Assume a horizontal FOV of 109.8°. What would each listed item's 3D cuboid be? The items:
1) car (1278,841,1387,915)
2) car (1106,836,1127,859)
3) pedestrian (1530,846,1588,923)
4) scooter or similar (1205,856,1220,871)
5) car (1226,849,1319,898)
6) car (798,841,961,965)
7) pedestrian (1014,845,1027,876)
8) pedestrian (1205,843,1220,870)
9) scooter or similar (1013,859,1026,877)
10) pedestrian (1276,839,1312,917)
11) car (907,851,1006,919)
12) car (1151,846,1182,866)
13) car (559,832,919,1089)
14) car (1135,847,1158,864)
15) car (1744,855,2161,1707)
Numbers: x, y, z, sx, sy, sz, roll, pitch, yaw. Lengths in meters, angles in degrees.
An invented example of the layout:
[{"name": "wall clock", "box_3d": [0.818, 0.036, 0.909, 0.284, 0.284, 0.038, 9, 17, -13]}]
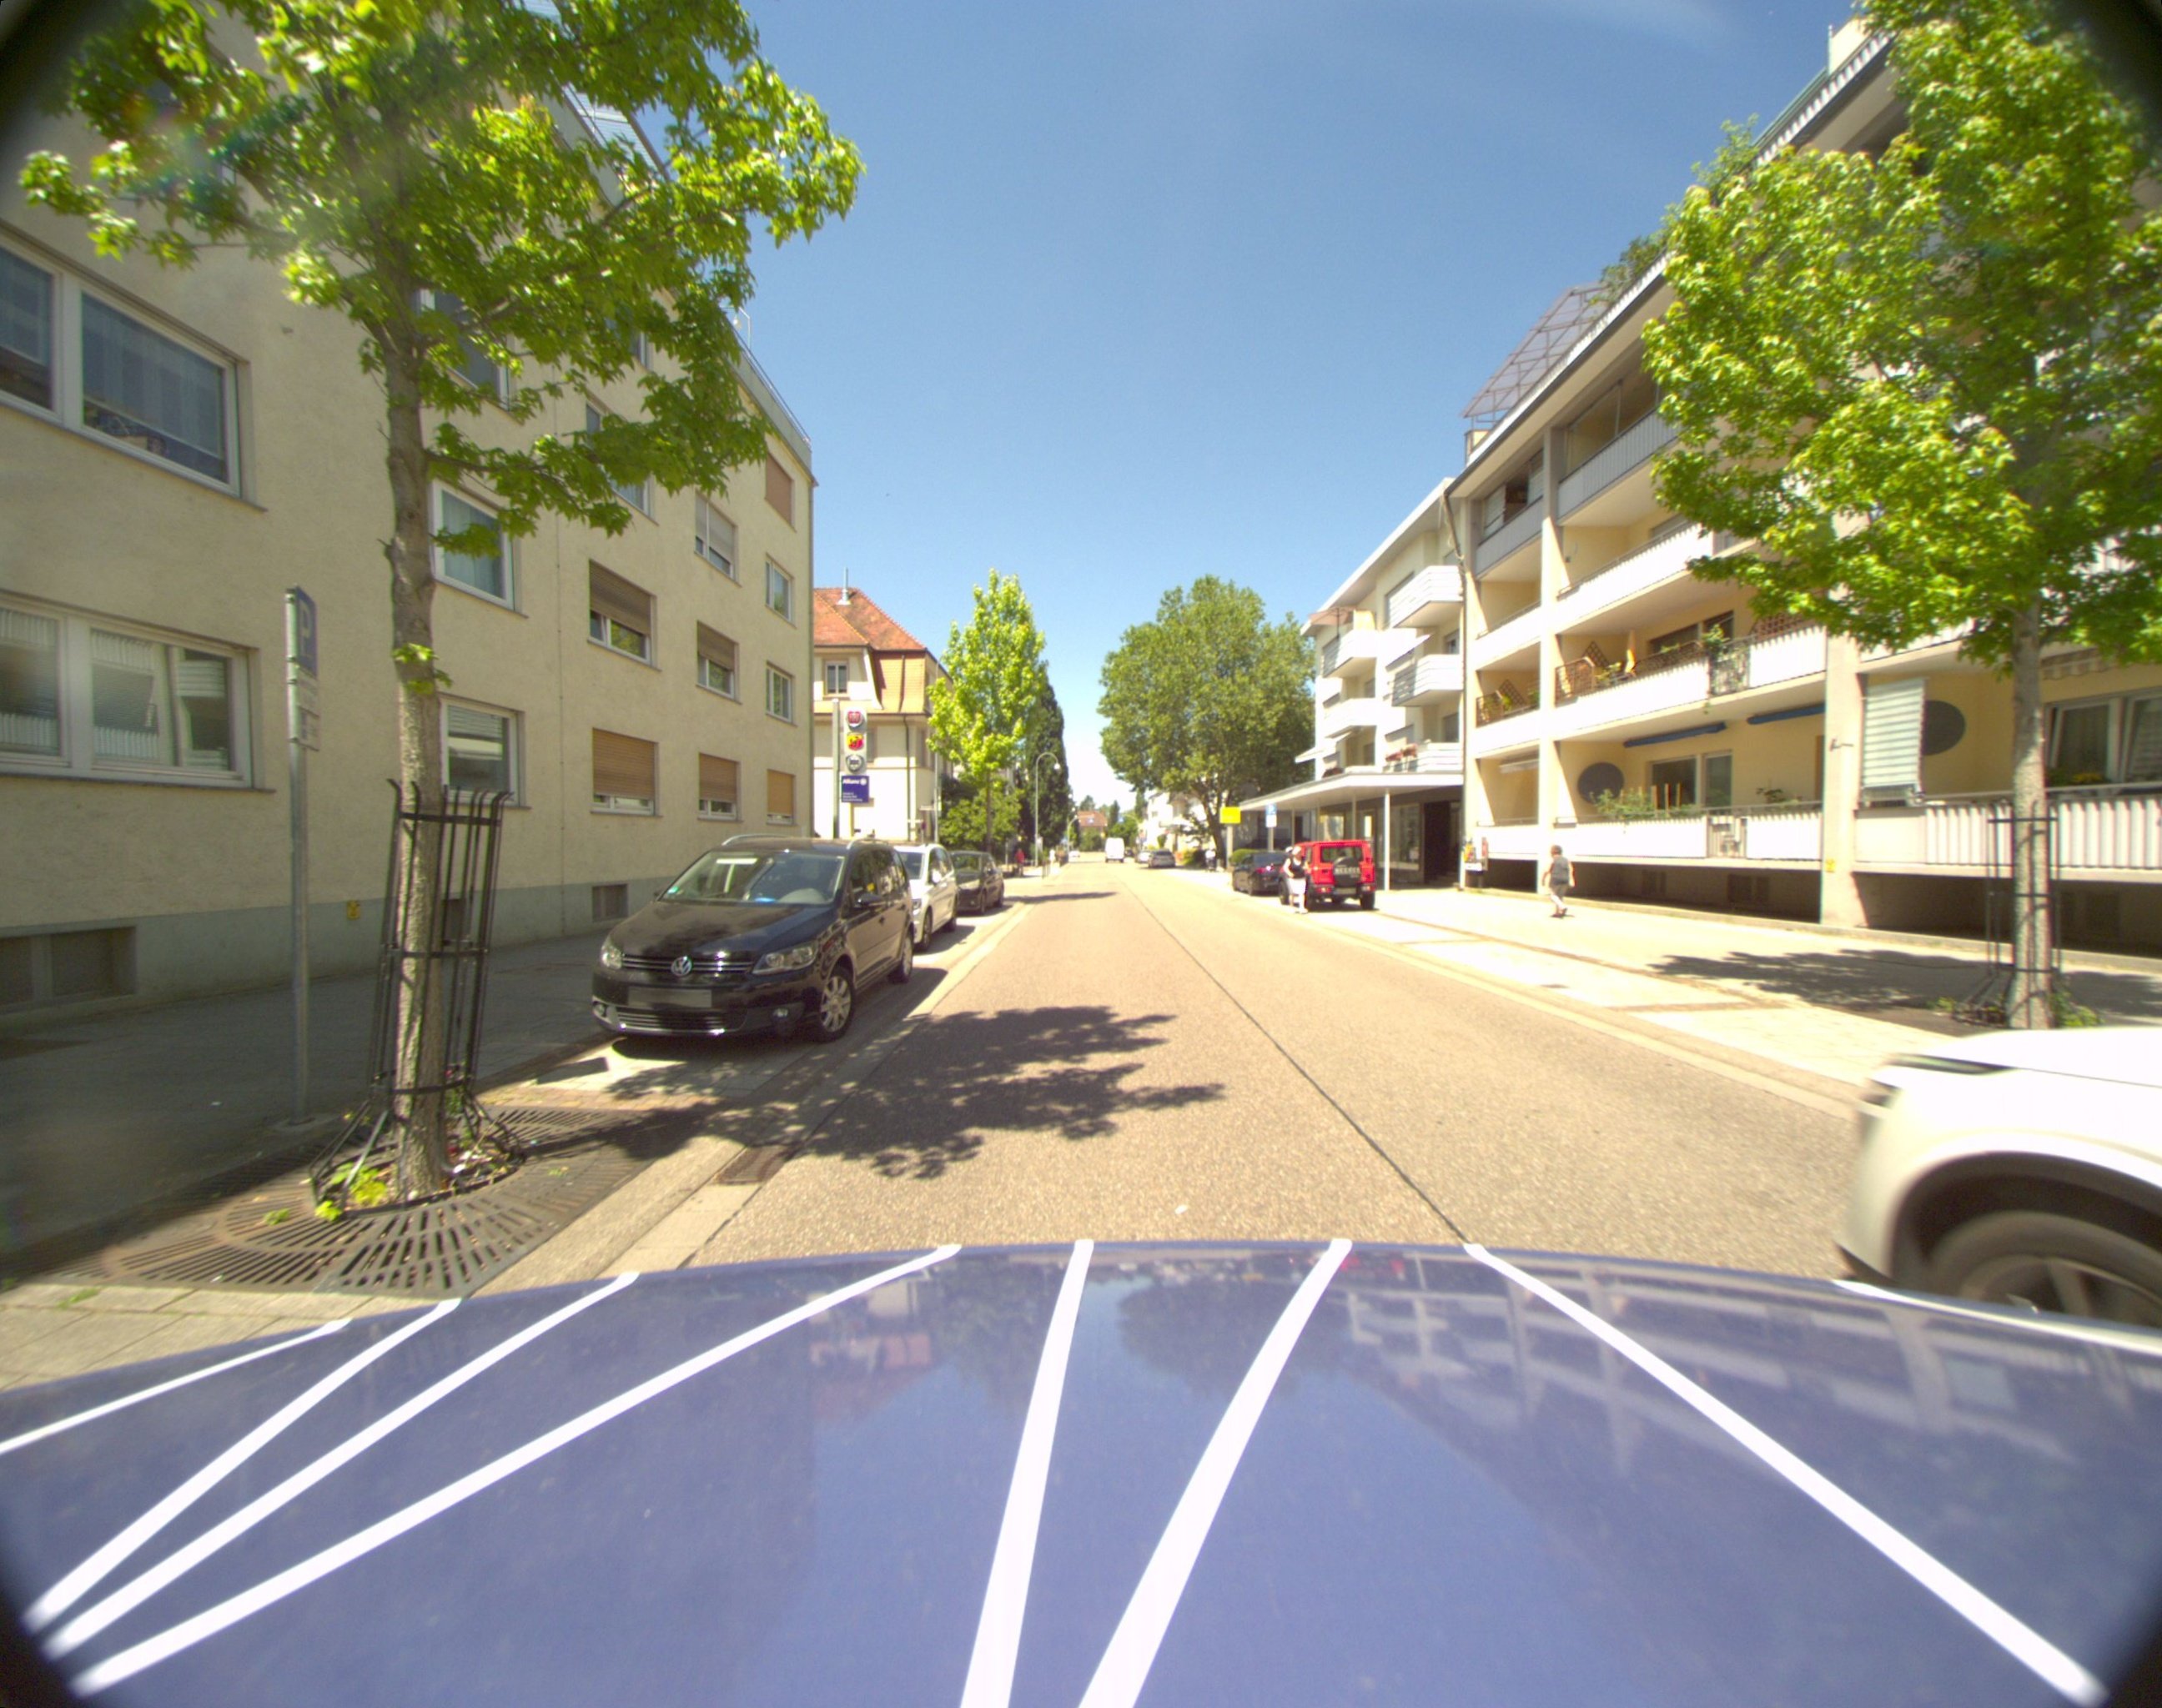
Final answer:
[{"name": "car", "box_3d": [6.203, 0.535, 19.132, 1.644, 1.652, 3.370, -2, 1, 1]}, {"name": "car", "box_3d": [3.934, -0.710, 84.782, 2.231, 2.452, 5.248, 0, 1, 1]}, {"name": "pedestrian", "box_3d": [9.547, 0.592, 15.193, 0.778, 1.490, 0.698, 0, 1, 12]}, {"name": "scooter or similar", "box_3d": [8.317, 0.604, 48.227, 0.639, 0.920, 0.742, -1, 1, -22]}, {"name": "car", "box_3d": [6.317, 0.589, 25.491, 1.999, 1.455, 3.999, -1, 0, -2]}, {"name": "car", "box_3d": [-3.121, 0.667, 12.617, 1.693, 1.712, 4.133, 0, 1, -2]}, {"name": "pedestrian", "box_3d": [-3.196, 0.343, 40.022, 0.625, 1.597, 0.735, 0, 1, -1]}, {"name": "pedestrian", "box_3d": [8.472, 0.153, 49.082, 0.639, 1.782, 0.742, -1, 1, -22]}, {"name": "scooter or similar", "box_3d": [-3.179, 0.721, 39.279, 0.625, 0.927, 0.736, 0, 1, -1]}, {"name": "pedestrian", "box_3d": [4.982, 0.555, 17.826, 0.685, 1.794, 0.668, 0, 1, 4]}, {"name": "car", "box_3d": [-2.946, 0.679, 18.825, 1.692, 1.479, 4.134, 0, 1, 1]}, {"name": "car", "box_3d": [6.499, 0.116, 57.816, 1.998, 1.499, 4.000, 0, 1, 1]}, {"name": "car", "box_3d": [-2.767, 0.724, 7.213, 1.693, 1.712, 3.999, 2, 0, -2]}, {"name": "car", "box_3d": [6.623, 0.155, 77.422, 1.998, 1.630, 4.000, 0, 1, 1]}, {"name": "car", "box_3d": [2.917, 0.845, 0.191, 1.775, 1.623, 4.299, 1, 1, 1]}]
